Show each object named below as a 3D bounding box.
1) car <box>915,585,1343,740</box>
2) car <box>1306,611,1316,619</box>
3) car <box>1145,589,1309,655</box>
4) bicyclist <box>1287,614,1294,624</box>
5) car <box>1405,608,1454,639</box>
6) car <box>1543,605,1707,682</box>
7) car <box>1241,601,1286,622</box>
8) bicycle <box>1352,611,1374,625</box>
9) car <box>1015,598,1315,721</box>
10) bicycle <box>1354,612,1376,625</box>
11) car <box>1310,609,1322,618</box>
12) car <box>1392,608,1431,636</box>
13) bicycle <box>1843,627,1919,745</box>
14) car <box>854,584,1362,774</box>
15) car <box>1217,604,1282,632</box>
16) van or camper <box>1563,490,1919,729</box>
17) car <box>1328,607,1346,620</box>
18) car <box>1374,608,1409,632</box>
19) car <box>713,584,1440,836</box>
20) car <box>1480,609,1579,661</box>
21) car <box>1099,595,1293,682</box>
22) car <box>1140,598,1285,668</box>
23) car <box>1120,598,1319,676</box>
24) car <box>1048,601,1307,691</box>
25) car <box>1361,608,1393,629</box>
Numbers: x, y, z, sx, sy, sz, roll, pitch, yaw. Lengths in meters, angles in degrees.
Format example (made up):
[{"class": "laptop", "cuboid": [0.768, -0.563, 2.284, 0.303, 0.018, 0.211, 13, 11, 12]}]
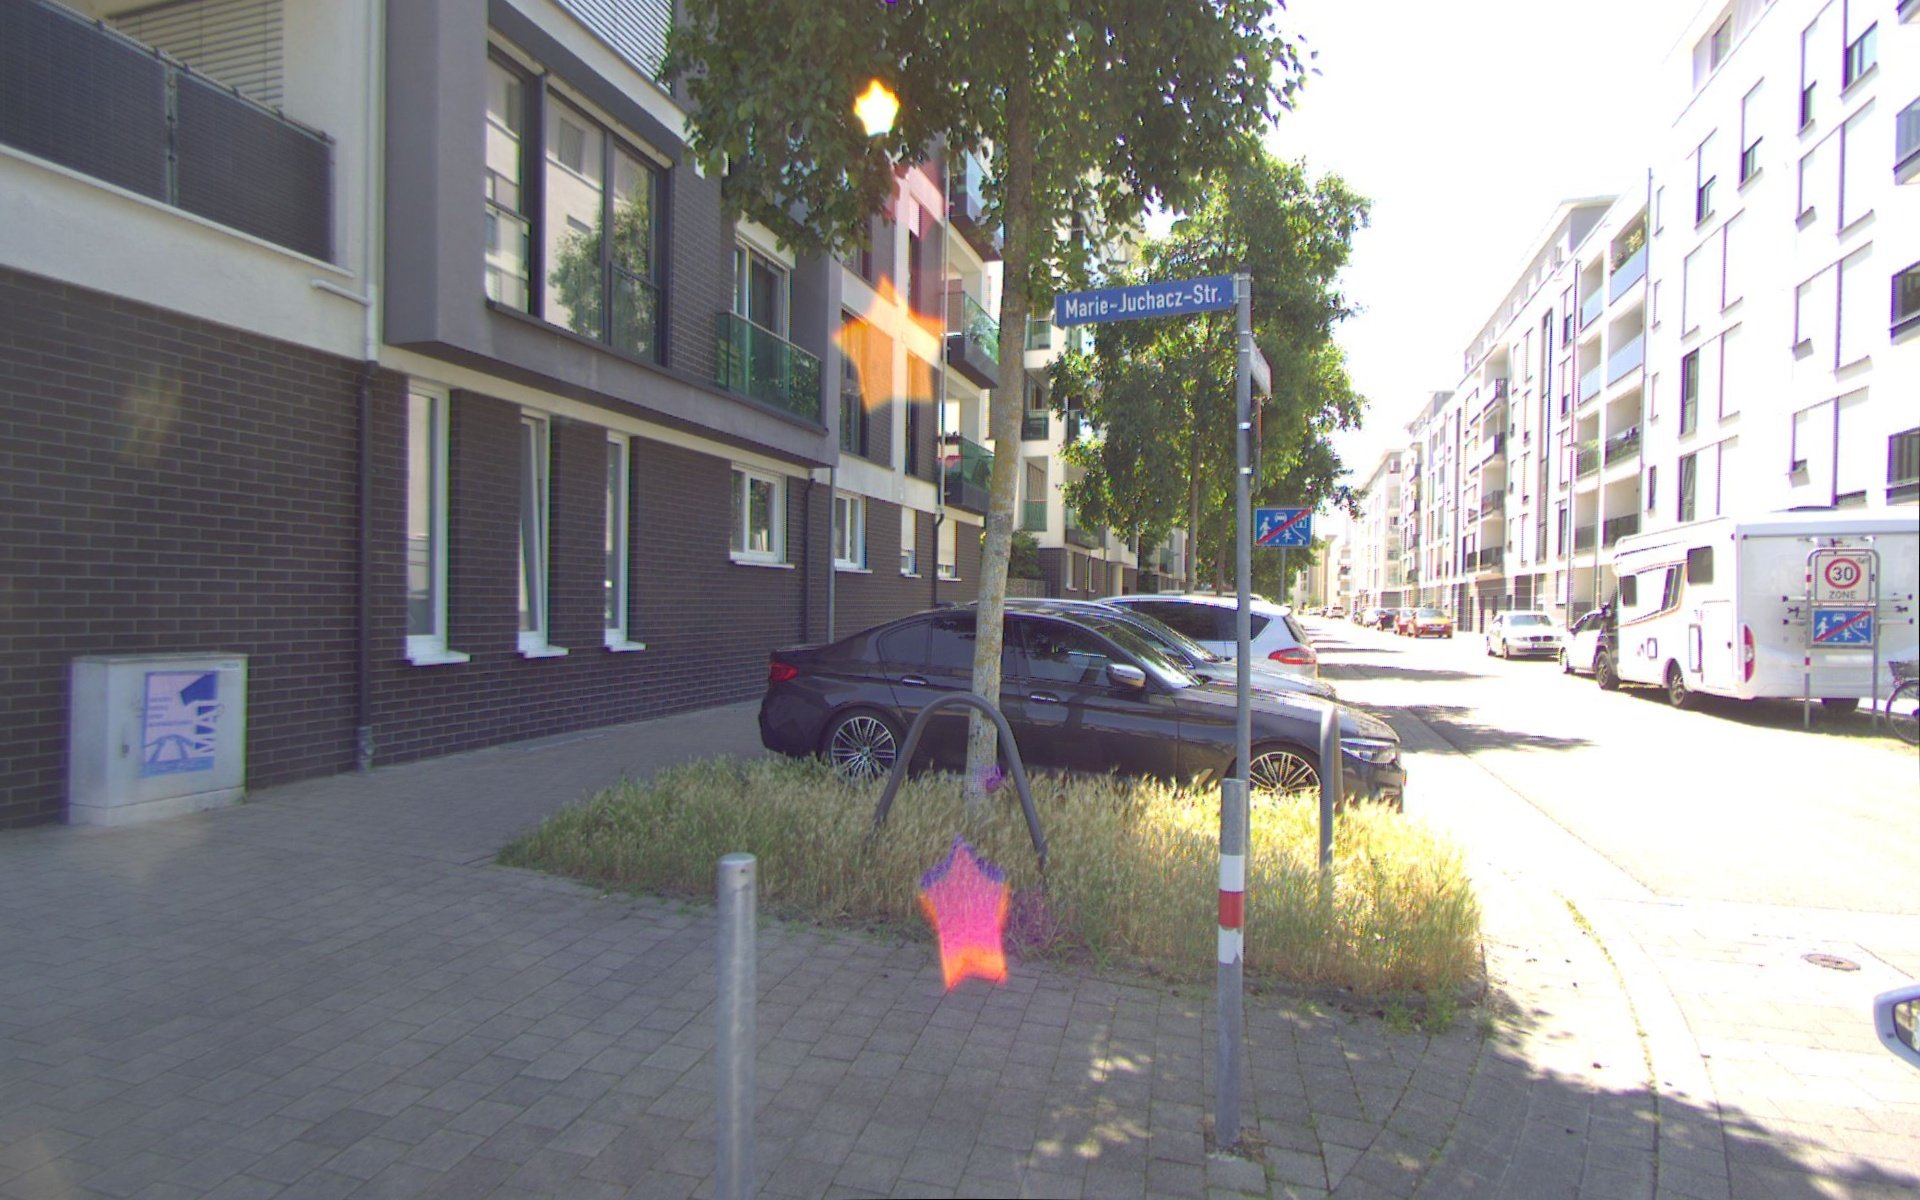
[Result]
[{"class": "car", "cuboid": [2.108, 0.687, 12.753, 4.943, 1.654, 2.043, 1, 0, 16]}, {"class": "car", "cuboid": [77.215, 3.207, 221.095, 1.960, 1.740, 4.001, 0, 0, 17]}, {"class": "car", "cuboid": [9.143, 0.722, 34.397, 5.254, 2.139, 2.187, 0, 0, 20]}, {"class": "bicyclist", "cuboid": [47.892, 2.765, 145.409, 0.938, 1.479, 0.800, 0, 0, 16]}, {"class": "car", "cuboid": [23.749, 1.176, 50.907, 1.708, 1.506, 4.259, -1, -1, 18]}, {"class": "car", "cuboid": [14.491, 0.893, 22.171, 1.776, 1.525, 4.262, -1, -1, 16]}, {"class": "car", "cuboid": [41.584, 1.534, 137.585, 5.923, 2.854, 2.605, 0, 0, 18]}, {"class": "bicycle", "cuboid": [36.247, 1.626, 90.325, 1.803, 1.163, 0.460, -1, -1, -1]}, {"class": "car", "cuboid": [3.094, 0.821, 15.292, 4.179, 1.551, 1.823, 2, 1, 15]}, {"class": "bicycle", "cuboid": [35.658, 1.654, 88.477, 1.756, 1.119, 0.747, -1, -1, 14]}, {"class": "car", "cuboid": [69.124, 2.531, 195.089, 1.960, 1.697, 4.001, 0, 0, 17]}, {"class": "car", "cuboid": [25.225, 1.202, 56.249, 1.569, 1.505, 3.676, -2, -1, 18]}, {"class": "bicycle", "cuboid": [11.284, 0.940, 11.334, 1.884, 1.239, 0.827, -1, 0, 2]}, {"class": "car", "cuboid": [1.484, 0.705, 10.415, 4.737, 1.468, 1.829, 3, 0, 16]}, {"class": "car", "cuboid": [18.697, 1.140, 64.755, 3.920, 1.651, 1.933, 2, 0, 18]}, {"class": "van or camper", "cuboid": [12.305, 0.174, 16.268, 2.398, 2.944, 7.830, 1, -1, 17]}, {"class": "car", "cuboid": [48.611, 1.780, 129.543, 1.964, 1.679, 4.115, 0, -1, 18]}, {"class": "car", "cuboid": [28.136, 1.305, 65.578, 1.615, 1.482, 4.119, -1, -1, 17]}, {"class": "car", "cuboid": [0.815, 0.691, 7.854, 5.012, 1.504, 1.929, 1, -1, 16]}, {"class": "car", "cuboid": [17.307, 1.023, 30.736, 1.815, 1.435, 4.426, 1, 0, 18]}, {"class": "car", "cuboid": [5.234, 0.798, 22.196, 3.915, 1.651, 1.949, 2, 0, 20]}, {"class": "car", "cuboid": [6.853, 0.849, 27.213, 3.618, 1.698, 1.852, 2, 0, 17]}, {"class": "car", "cuboid": [6.288, 0.863, 24.621, 4.480, 1.615, 1.967, 2, 0, 13]}, {"class": "car", "cuboid": [4.312, 0.850, 19.924, 4.769, 1.476, 1.829, 2, 0, 18]}, {"class": "car", "cuboid": [31.680, 1.410, 76.403, 1.803, 1.525, 4.351, -1, -1, 18]}]
